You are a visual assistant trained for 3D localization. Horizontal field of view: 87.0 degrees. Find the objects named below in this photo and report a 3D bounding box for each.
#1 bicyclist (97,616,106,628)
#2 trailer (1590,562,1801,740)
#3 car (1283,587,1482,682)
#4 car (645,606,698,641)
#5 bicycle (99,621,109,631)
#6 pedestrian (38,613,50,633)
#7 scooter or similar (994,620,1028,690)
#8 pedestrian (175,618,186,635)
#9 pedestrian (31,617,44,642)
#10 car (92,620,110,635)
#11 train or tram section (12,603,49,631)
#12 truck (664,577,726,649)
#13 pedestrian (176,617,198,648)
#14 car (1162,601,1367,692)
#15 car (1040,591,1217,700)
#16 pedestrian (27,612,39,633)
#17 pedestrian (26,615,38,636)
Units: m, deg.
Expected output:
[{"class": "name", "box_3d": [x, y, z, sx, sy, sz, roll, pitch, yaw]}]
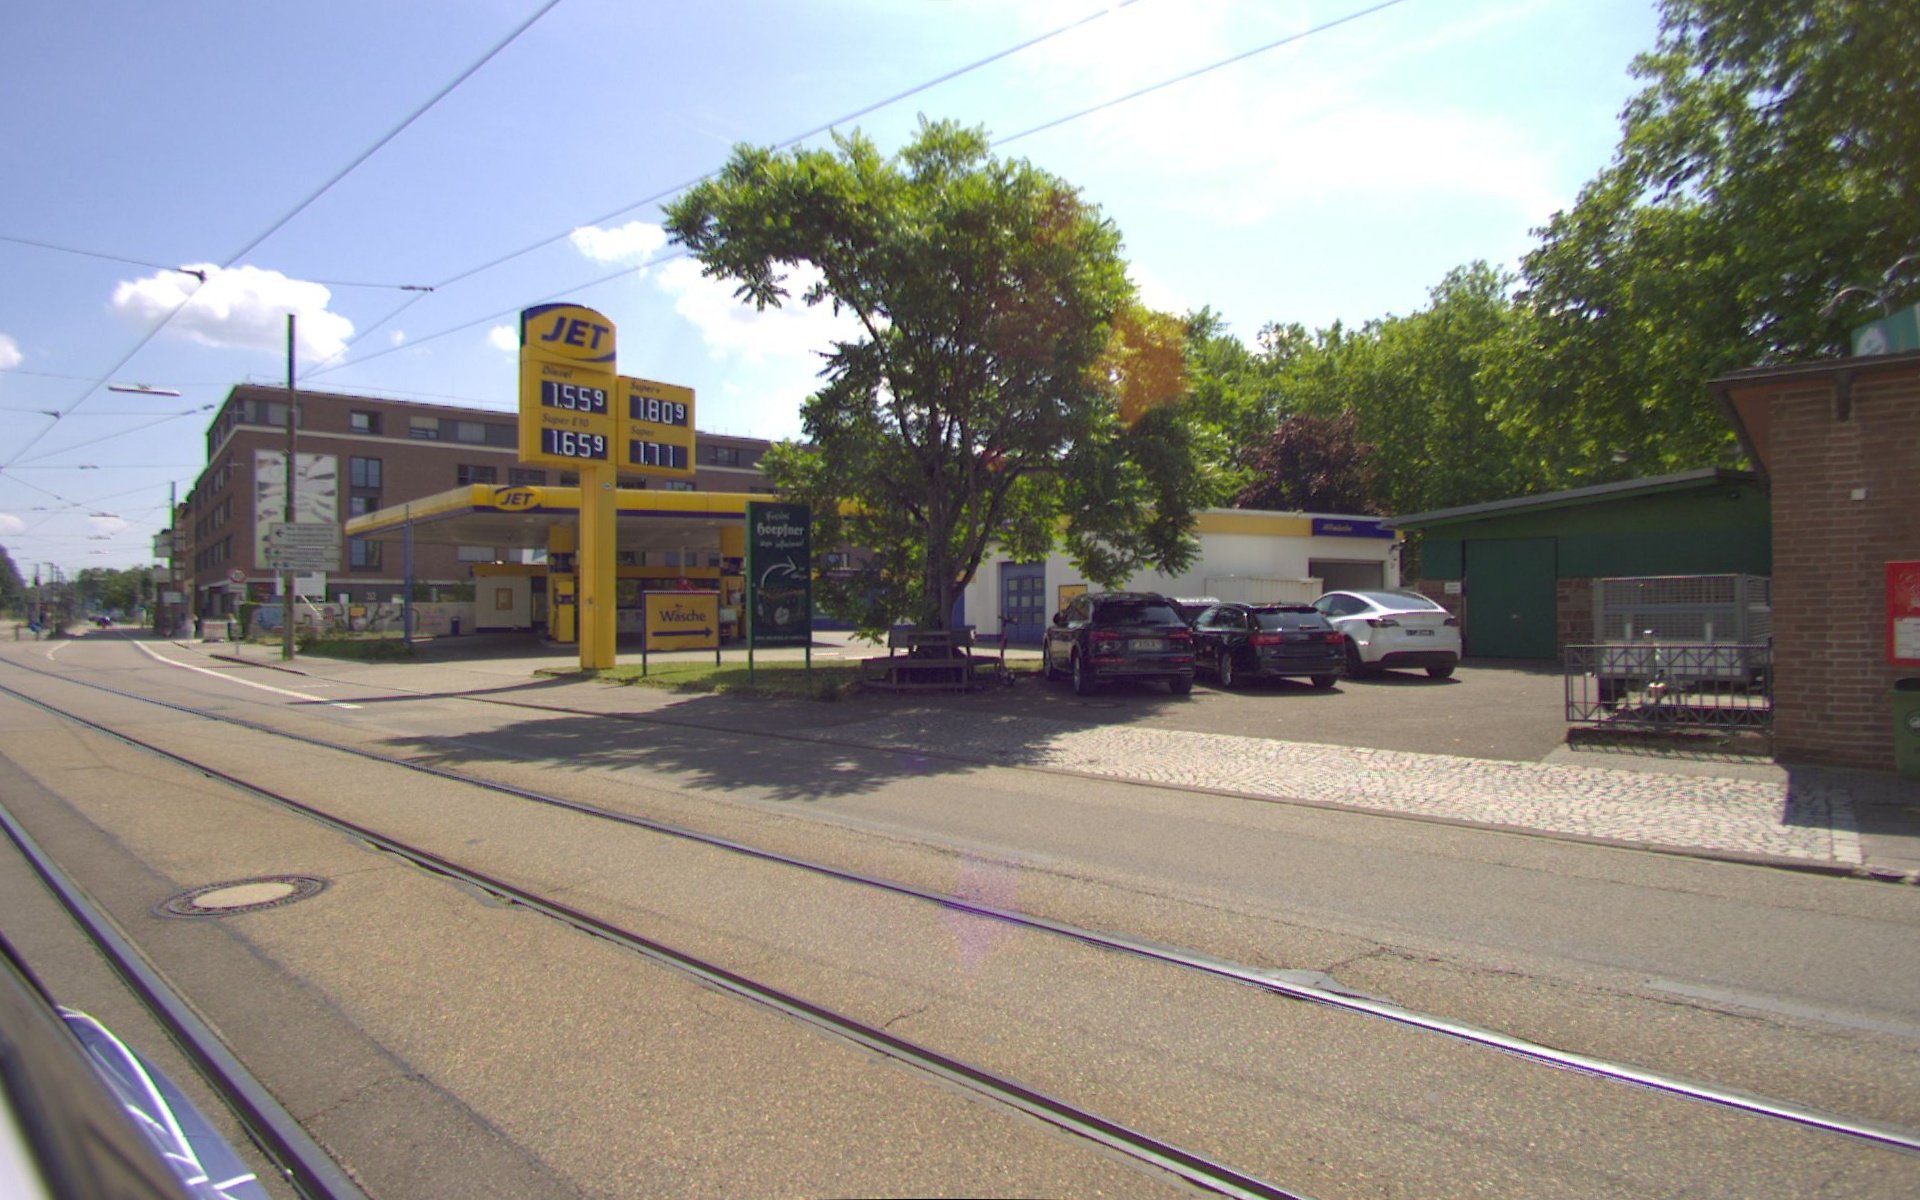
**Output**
[{"class": "bicyclist", "box_3d": [-108.378, 2.733, 127.815, 1.065, 1.516, 0.750, -1, -1, 43]}, {"class": "trailer", "box_3d": [8.310, 0.502, 11.370, 1.621, 1.716, 2.800, -1, -1, 42]}, {"class": "car", "box_3d": [7.950, 0.613, 19.562, 1.883, 1.604, 4.335, -1, -1, -2]}, {"class": "car", "box_3d": [-12.953, 1.038, 45.352, 1.965, 1.490, 4.356, 0, -1, -20]}, {"class": "bicycle", "box_3d": [-108.206, 3.316, 127.892, 0.807, 1.232, 2.390, 2, -2, -45]}, {"class": "pedestrian", "box_3d": [-73.865, 1.870, 81.636, 0.677, 1.608, 0.762, 2, -2, -42]}, {"class": "scooter or similar", "box_3d": [0.906, 0.964, 18.145, 0.400, 1.183, 1.362, -1, -1, -5]}, {"class": "pedestrian", "box_3d": [-72.559, 2.487, 94.189, 0.677, 1.608, 0.762, 2, -2, -42]}, {"class": "pedestrian", "box_3d": [-67.385, 2.166, 73.906, 0.677, 1.773, 1.035, 2, -2, -42]}, {"class": "car", "box_3d": [-126.122, 4.021, 148.559, 1.992, 2.029, 4.006, -2, 1, -41]}, {"class": "train or tram section", "box_3d": [-126.963, 2.321, 138.346, 3.195, 3.594, 16.373, 1, -1, -41]}, {"class": "truck", "box_3d": [-10.066, 0.476, 38.181, 1.966, 2.517, 5.219, 0, 0, -18]}, {"class": "pedestrian", "box_3d": [-42.141, 1.771, 55.165, 1.000, 1.608, 0.751, -1, 2, 44]}, {"class": "car", "box_3d": [5.228, 0.742, 18.073, 1.880, 1.405, 4.340, -1, -1, -7]}, {"class": "car", "box_3d": [2.699, 0.699, 17.313, 1.970, 1.602, 4.338, -1, -1, -5]}, {"class": "pedestrian", "box_3d": [-78.698, 1.902, 85.909, 0.751, 1.708, 0.810, 2, -2, -42]}, {"class": "pedestrian", "box_3d": [-78.815, 2.161, 85.959, 0.751, 1.813, 0.953, 2, -2, -42]}]
